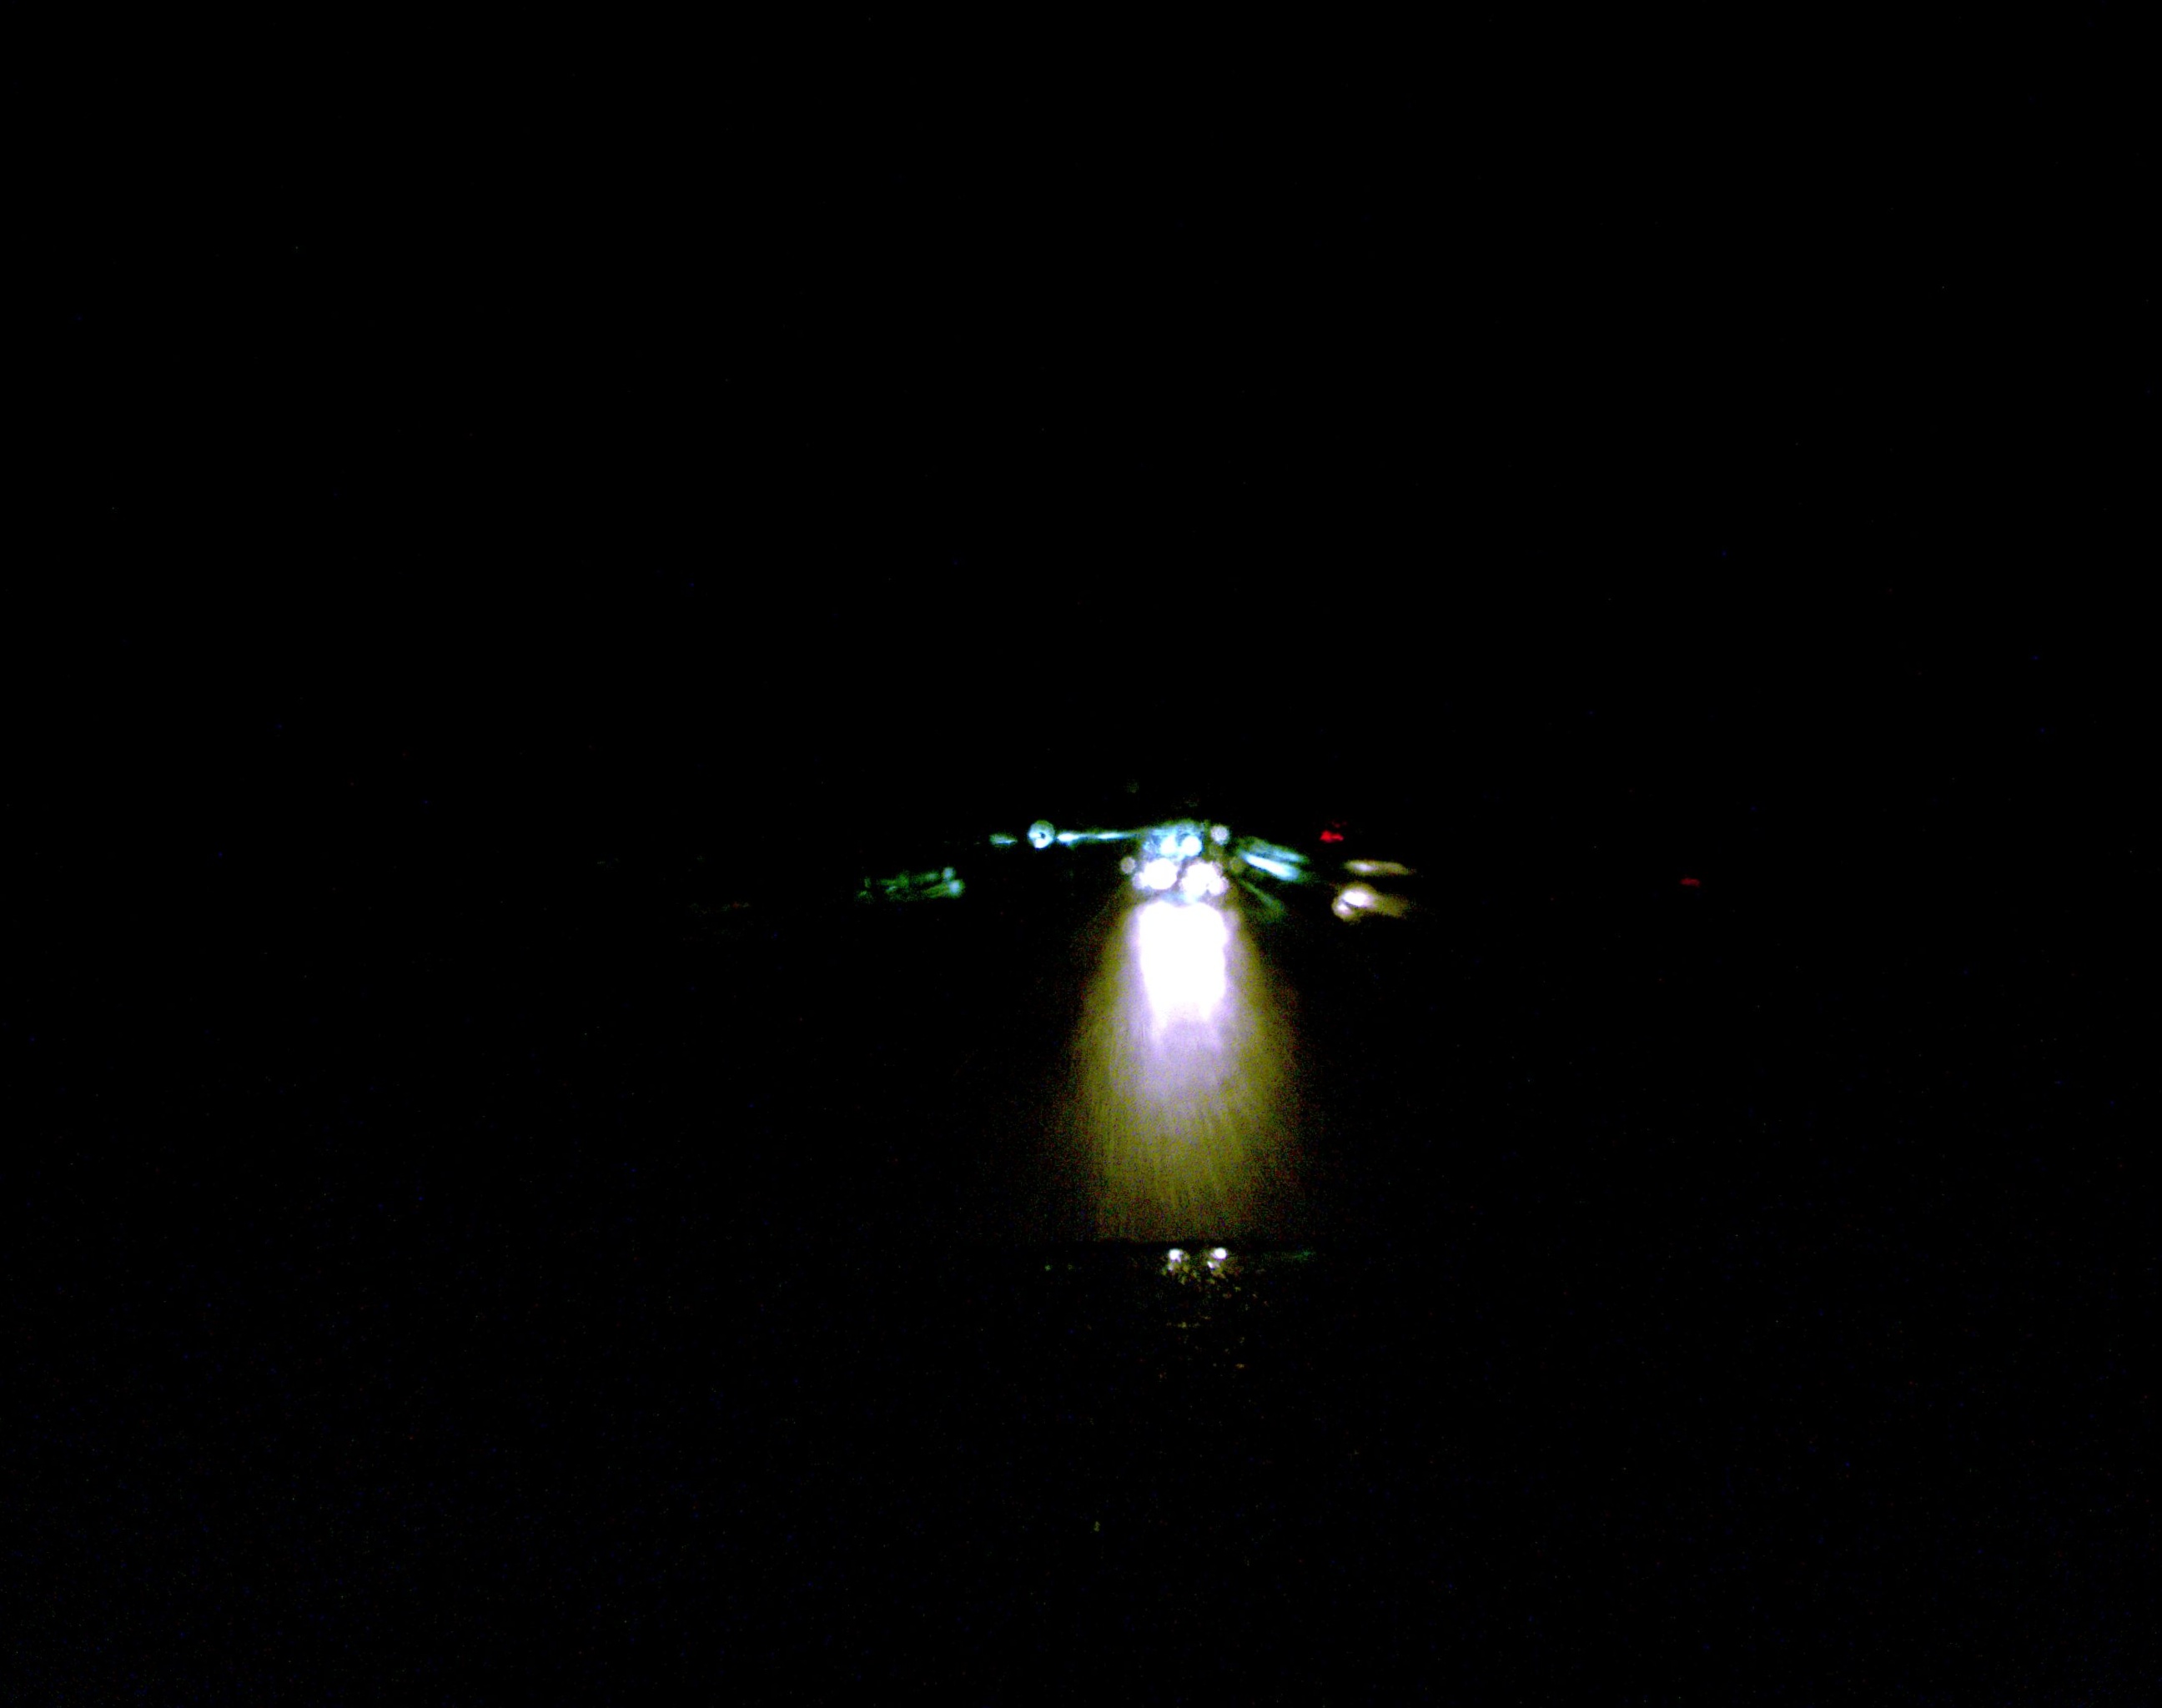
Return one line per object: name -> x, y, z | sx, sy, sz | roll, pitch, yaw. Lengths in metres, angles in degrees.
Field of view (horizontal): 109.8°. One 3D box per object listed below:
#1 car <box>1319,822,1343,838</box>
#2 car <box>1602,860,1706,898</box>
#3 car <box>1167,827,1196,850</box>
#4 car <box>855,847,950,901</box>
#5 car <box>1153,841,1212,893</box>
car -> 28.407, -2.736, 86.360 | 1.762, 1.483, 4.044 | -1, 5, 7
car -> 28.626, 1.224, 38.146 | 1.746, 1.418, 4.094 | -4, 4, -9
car -> 6.504, -1.030, 49.512 | 1.759, 1.304, 4.086 | -3, 2, 7
car -> -6.917, 0.726, 29.916 | 1.739, 1.674, 4.123 | -6, 2, 15
car -> 3.208, 0.346, 23.674 | 1.685, 1.443, 3.643 | -1, 2, 9
